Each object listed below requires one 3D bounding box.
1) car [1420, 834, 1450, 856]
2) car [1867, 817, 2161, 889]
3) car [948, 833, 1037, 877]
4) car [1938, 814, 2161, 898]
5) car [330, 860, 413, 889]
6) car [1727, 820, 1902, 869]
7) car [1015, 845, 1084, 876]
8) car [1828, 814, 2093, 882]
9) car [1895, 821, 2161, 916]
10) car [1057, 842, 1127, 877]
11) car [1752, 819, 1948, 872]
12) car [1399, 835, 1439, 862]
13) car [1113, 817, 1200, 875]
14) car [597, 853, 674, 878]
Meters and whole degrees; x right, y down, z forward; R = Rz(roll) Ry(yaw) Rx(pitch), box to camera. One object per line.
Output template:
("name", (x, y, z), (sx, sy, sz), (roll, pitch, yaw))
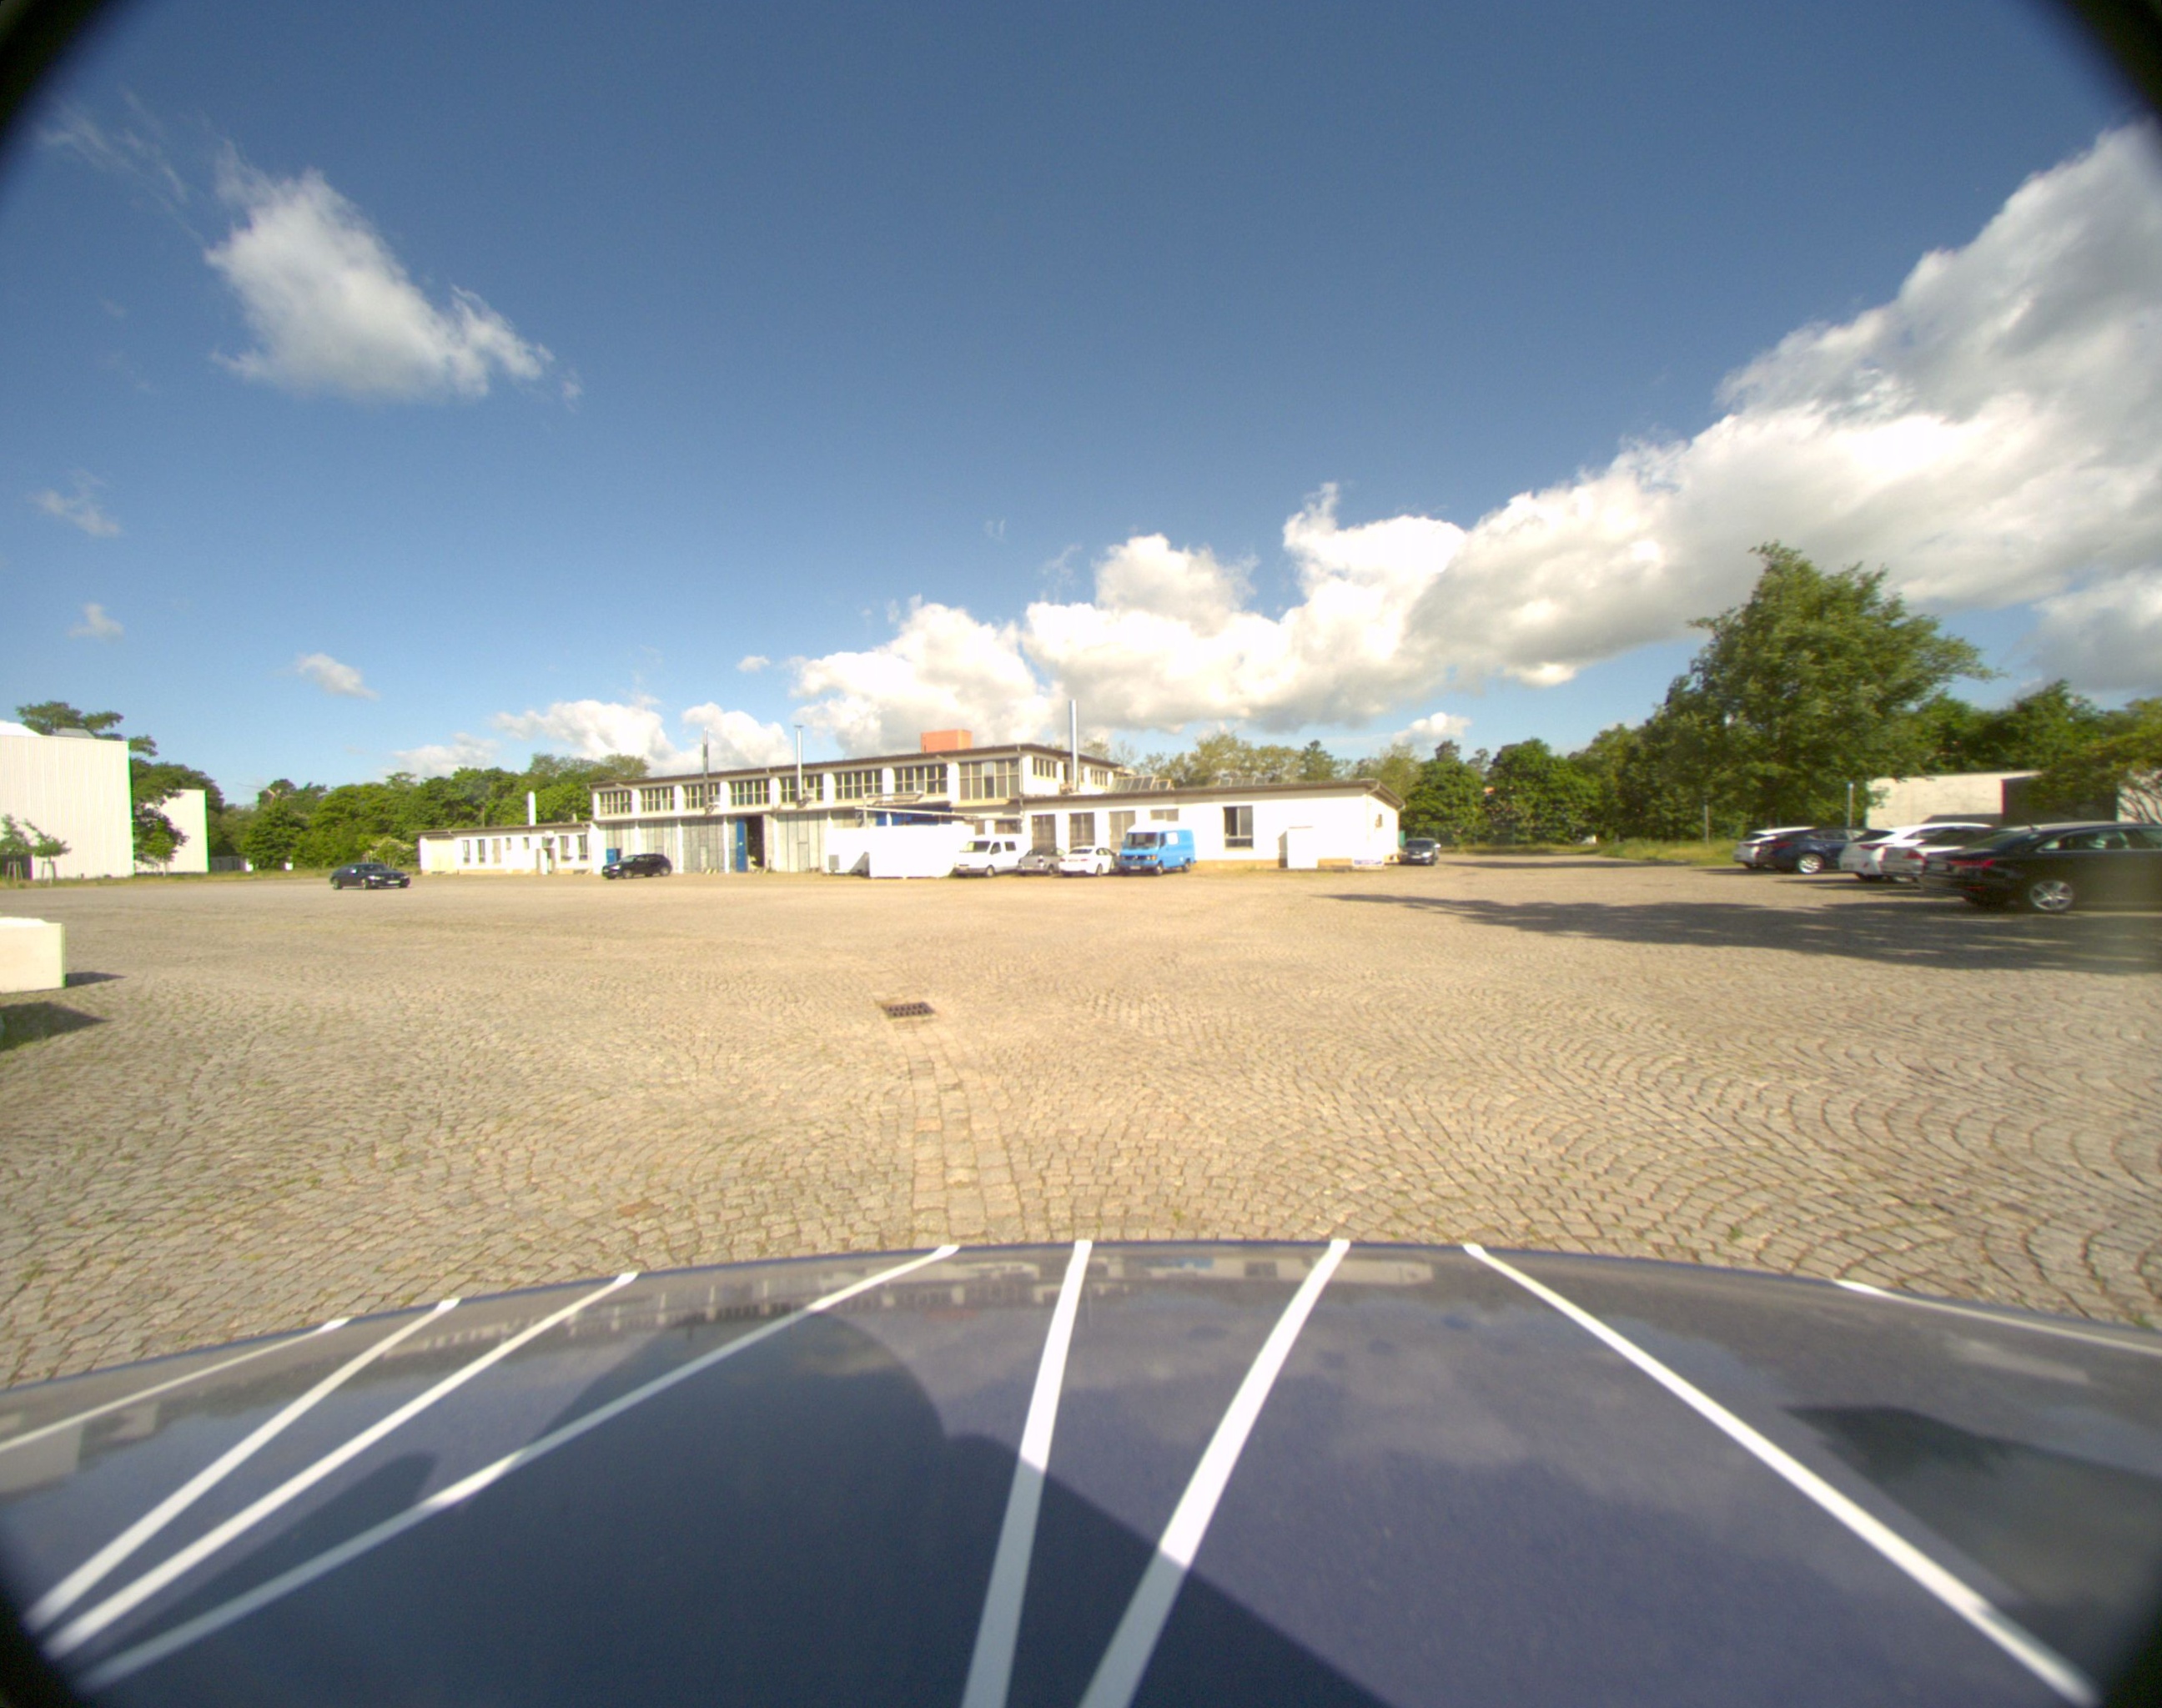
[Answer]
("car", (23.655, -0.605, 50.777), (1.688, 1.427, 3.993), (0, 1, 27))
("car", (20.354, 0.002, 16.683), (3.915, 1.364, 1.731), (-3, 0, 27))
("car", (-4.417, 0.002, 38.855), (2.004, 2.070, 4.812), (-1, 2, 29))
("car", (19.543, 0.020, 14.336), (4.141, 1.451, 1.694), (-3, 0, 31))
("car", (-38.023, 1.112, 40.714), (4.066, 1.421, 1.743), (-1, 1, 23))
("car", (24.914, -0.303, 25.994), (3.915, 1.427, 1.799), (-3, 0, 27))
("car", (-1.523, 0.293, 38.099), (1.688, 1.390, 3.838), (0, 1, 29))
("car", (21.601, -0.122, 18.905), (3.915, 1.438, 1.758), (-3, 0, 27))
("car", (17.100, 0.206, 12.493), (4.723, 1.415, 1.760), (-3, 0, 25))
("car", (0.567, 0.237, 36.003), (1.733, 1.398, 3.744), (-1, 2, 29))
("car", (23.739, -0.235, 23.666), (3.915, 1.409, 1.695), (-3, 0, 27))
("car", (18.527, -0.323, 41.573), (1.765, 1.427, 3.998), (0, 1, 27))
("car", (3.659, -0.454, 35.849), (2.084, 2.469, 5.246), (-1, 3, 29))
("car", (-29.430, 0.737, 50.372), (1.736, 1.461, 4.082), (-1, 2, 25))
